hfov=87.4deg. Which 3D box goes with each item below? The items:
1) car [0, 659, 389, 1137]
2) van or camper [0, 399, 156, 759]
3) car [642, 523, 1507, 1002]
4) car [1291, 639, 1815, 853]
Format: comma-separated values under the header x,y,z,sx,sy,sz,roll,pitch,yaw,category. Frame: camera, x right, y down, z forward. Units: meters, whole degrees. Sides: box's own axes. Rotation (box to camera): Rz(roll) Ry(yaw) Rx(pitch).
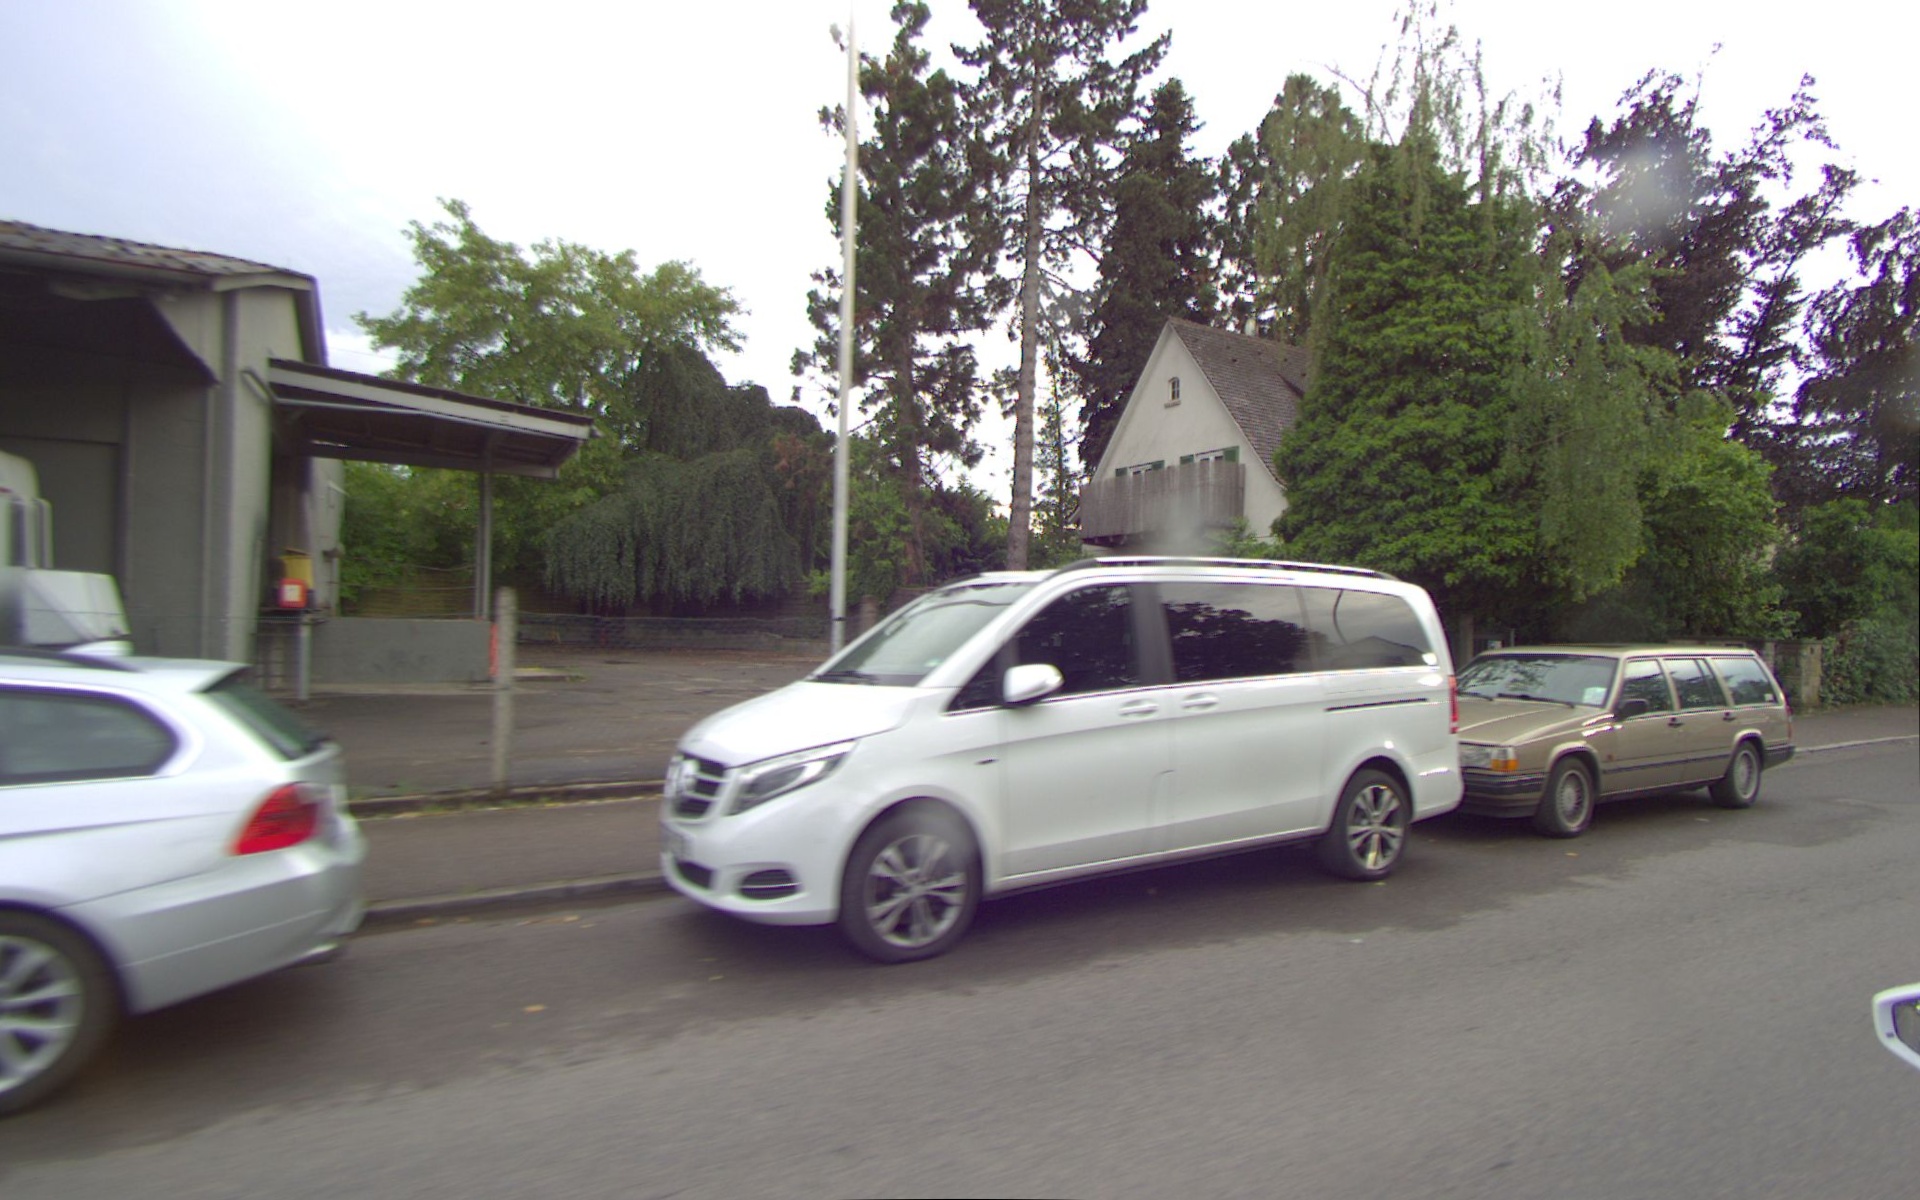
x,y,z,sx,sy,sz,roll,pitch,yaw,category
-4.437,0.910,3.060,4.651,1.383,1.631,1,-2,-30,car
-10.796,-0.247,8.356,6.080,3.076,2.291,1,1,-31,van or camper
0.899,0.729,6.142,5.148,1.917,1.885,1,-2,-30,car
5.360,1.085,8.903,4.921,1.446,1.808,1,-2,-30,car
